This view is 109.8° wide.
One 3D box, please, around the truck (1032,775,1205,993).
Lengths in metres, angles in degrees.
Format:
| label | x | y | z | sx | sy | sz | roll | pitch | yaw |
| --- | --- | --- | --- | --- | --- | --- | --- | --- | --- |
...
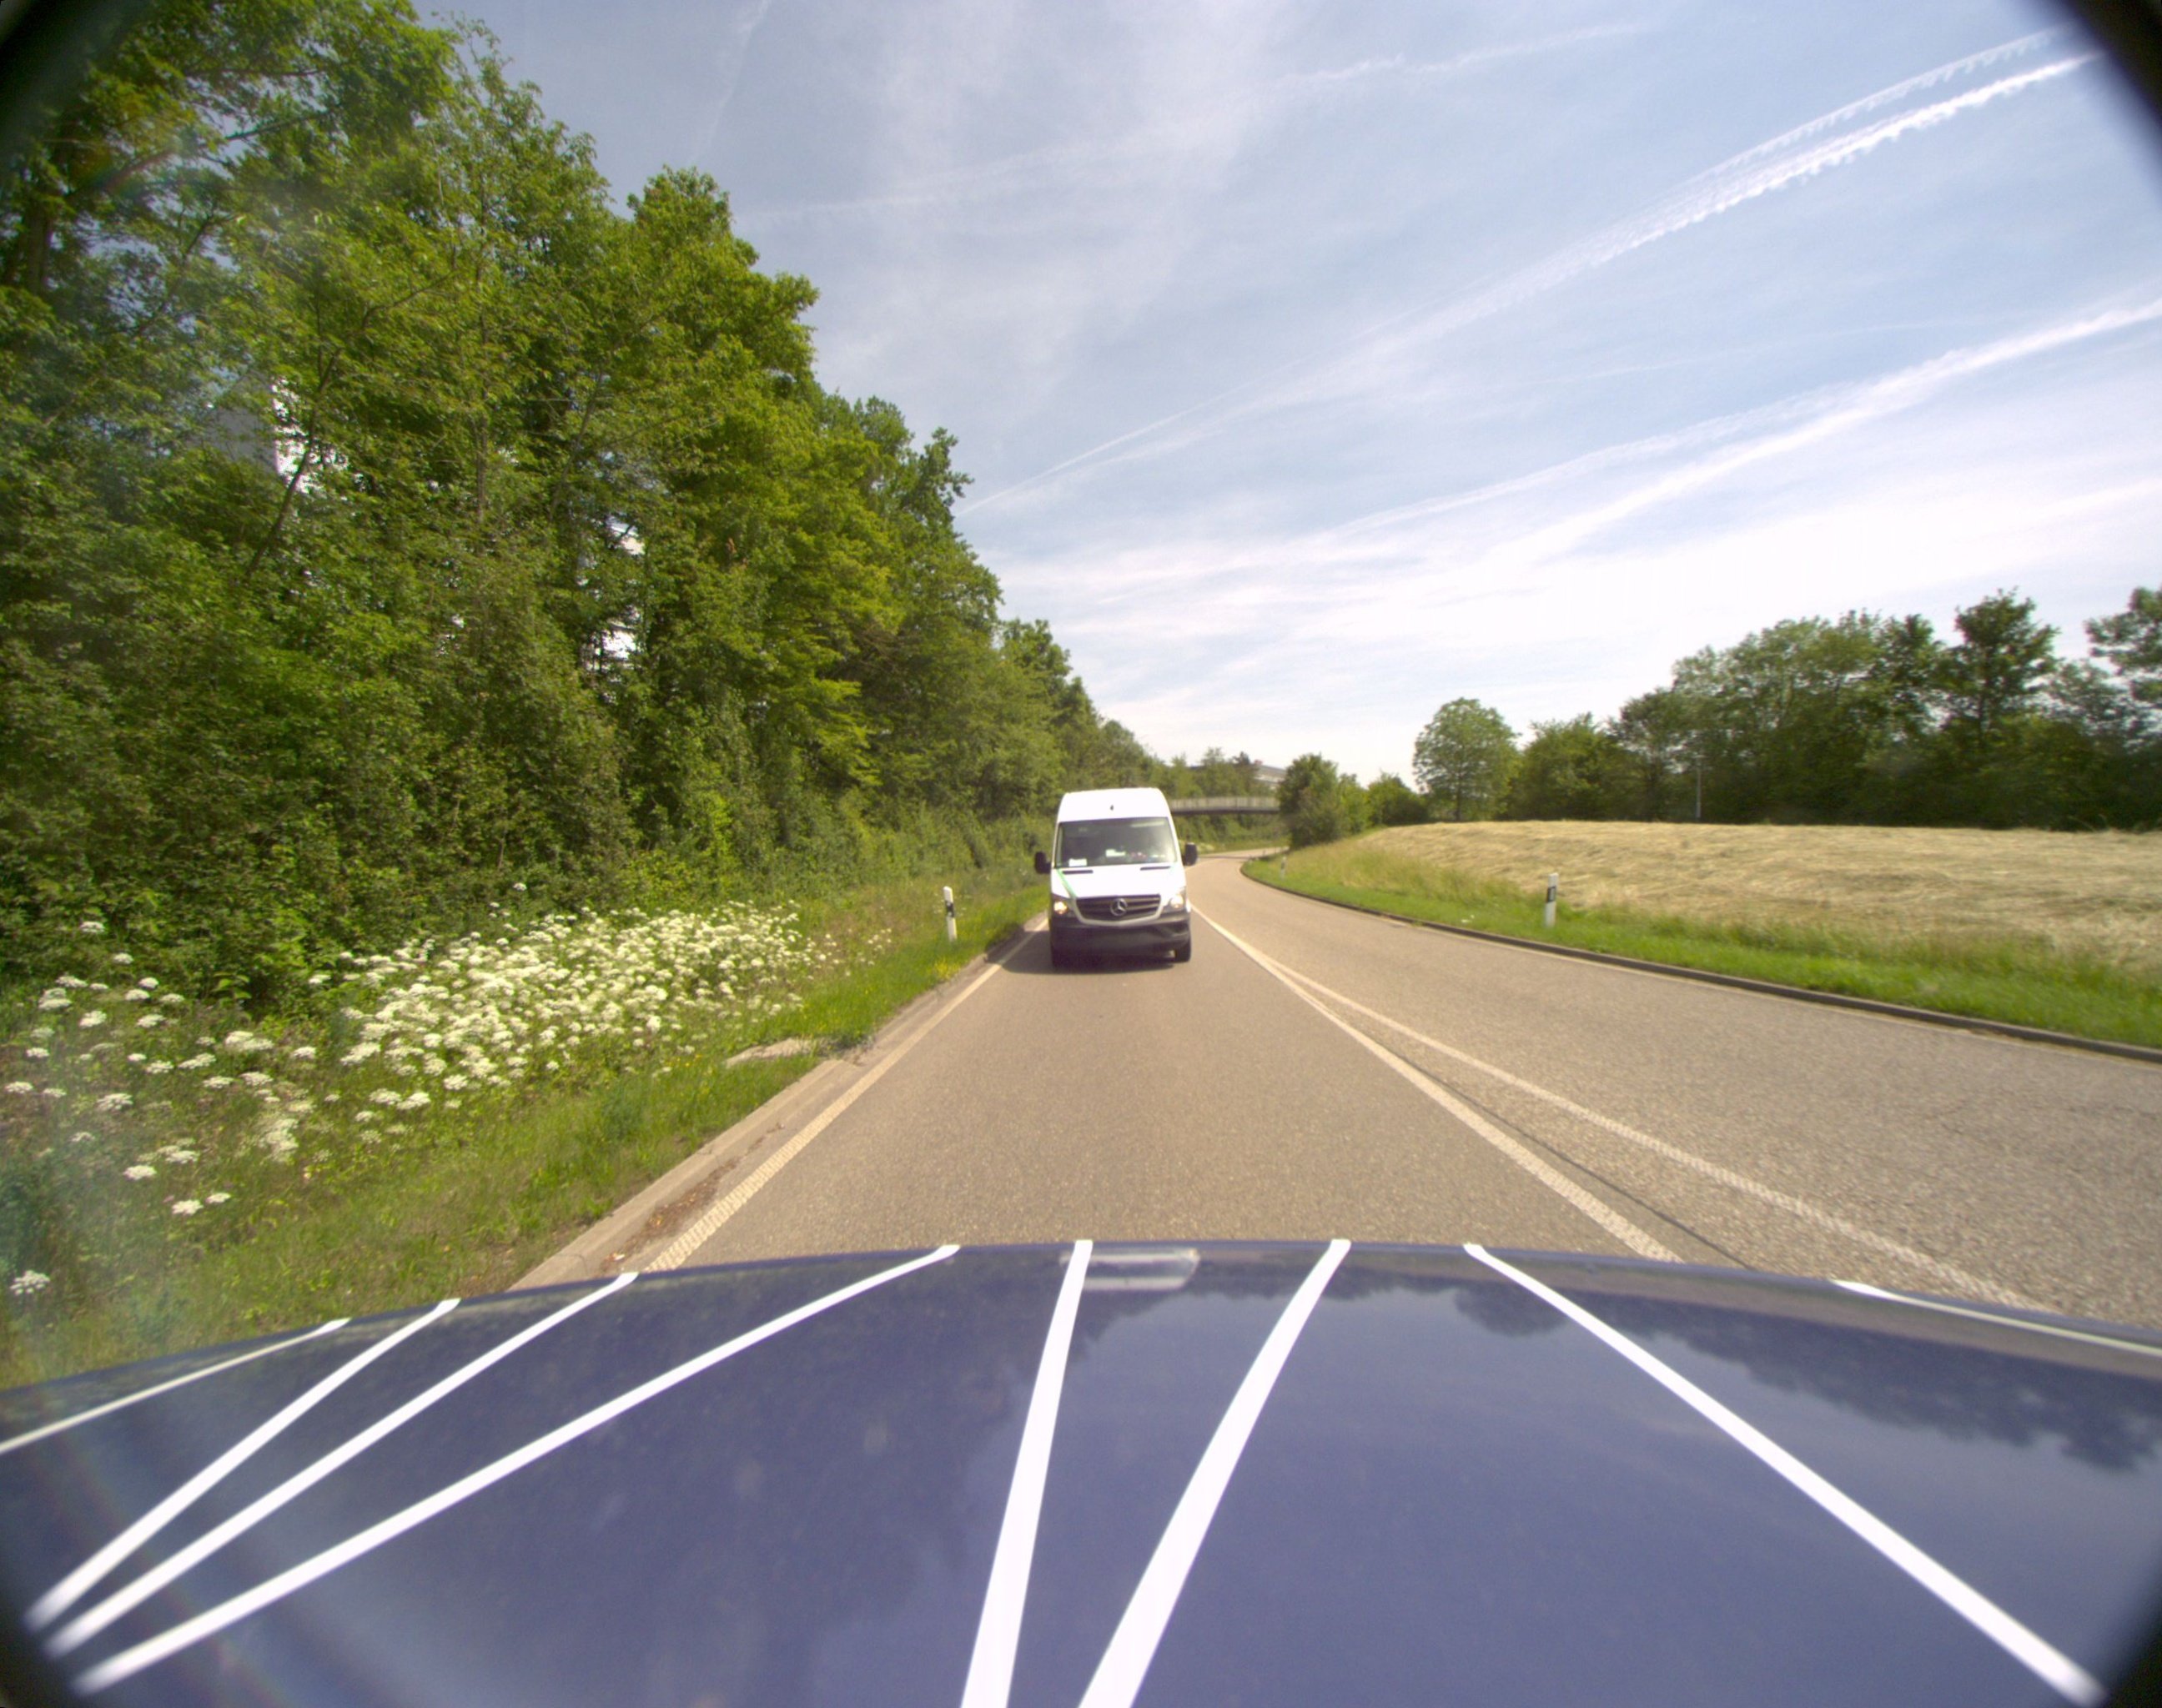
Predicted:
| label | x | y | z | sx | sy | sz | roll | pitch | yaw |
| --- | --- | --- | --- | --- | --- | --- | --- | --- | --- |
| truck | 0.479 | 0.345 | 12.108 | 1.998 | 2.571 | 5.887 | -2 | 0 | 0 |
